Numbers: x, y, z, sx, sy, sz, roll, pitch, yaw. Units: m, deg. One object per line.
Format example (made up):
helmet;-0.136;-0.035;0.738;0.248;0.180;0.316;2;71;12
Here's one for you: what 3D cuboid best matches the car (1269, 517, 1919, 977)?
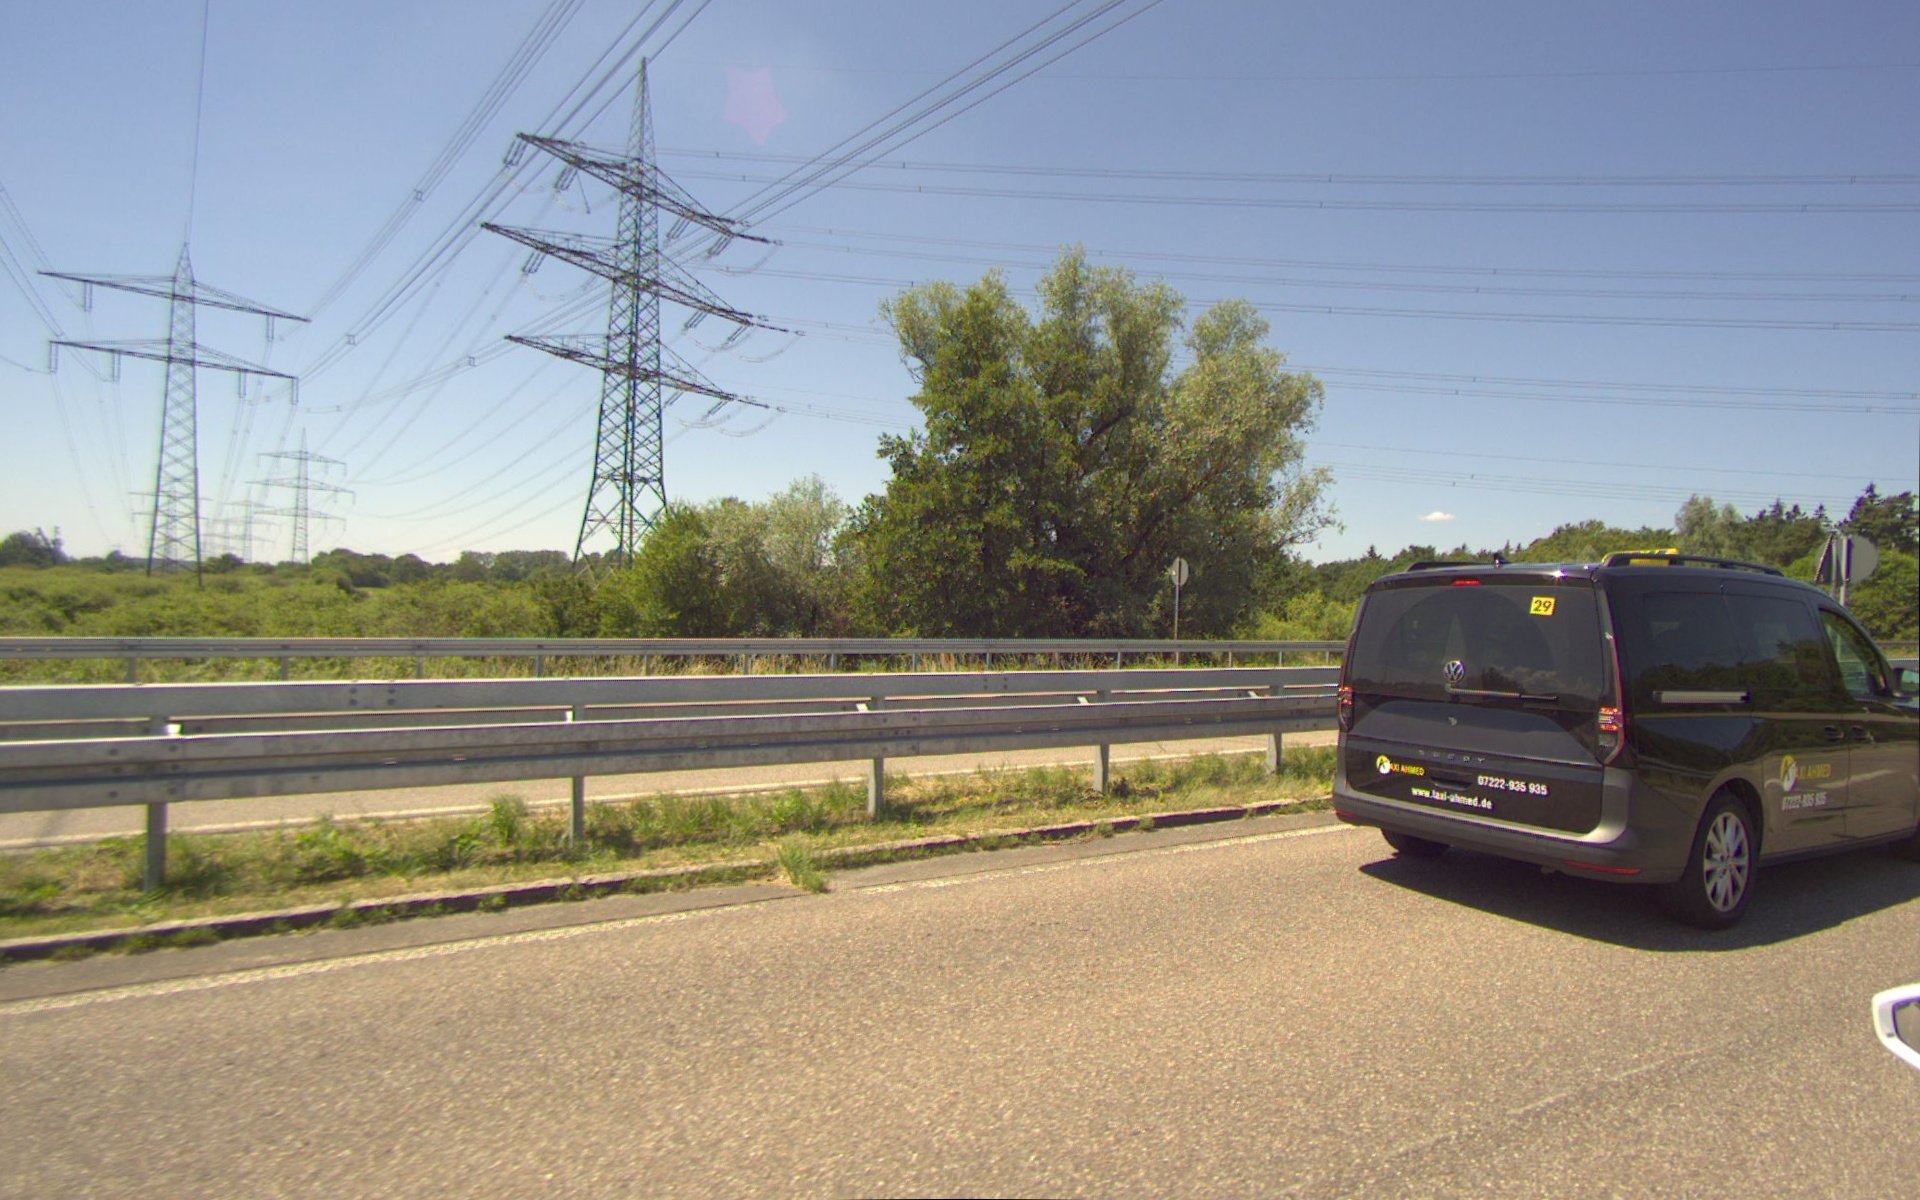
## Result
car;4.608;0.687;6.402;5.509;1.912;1.845;2;-1;-31
